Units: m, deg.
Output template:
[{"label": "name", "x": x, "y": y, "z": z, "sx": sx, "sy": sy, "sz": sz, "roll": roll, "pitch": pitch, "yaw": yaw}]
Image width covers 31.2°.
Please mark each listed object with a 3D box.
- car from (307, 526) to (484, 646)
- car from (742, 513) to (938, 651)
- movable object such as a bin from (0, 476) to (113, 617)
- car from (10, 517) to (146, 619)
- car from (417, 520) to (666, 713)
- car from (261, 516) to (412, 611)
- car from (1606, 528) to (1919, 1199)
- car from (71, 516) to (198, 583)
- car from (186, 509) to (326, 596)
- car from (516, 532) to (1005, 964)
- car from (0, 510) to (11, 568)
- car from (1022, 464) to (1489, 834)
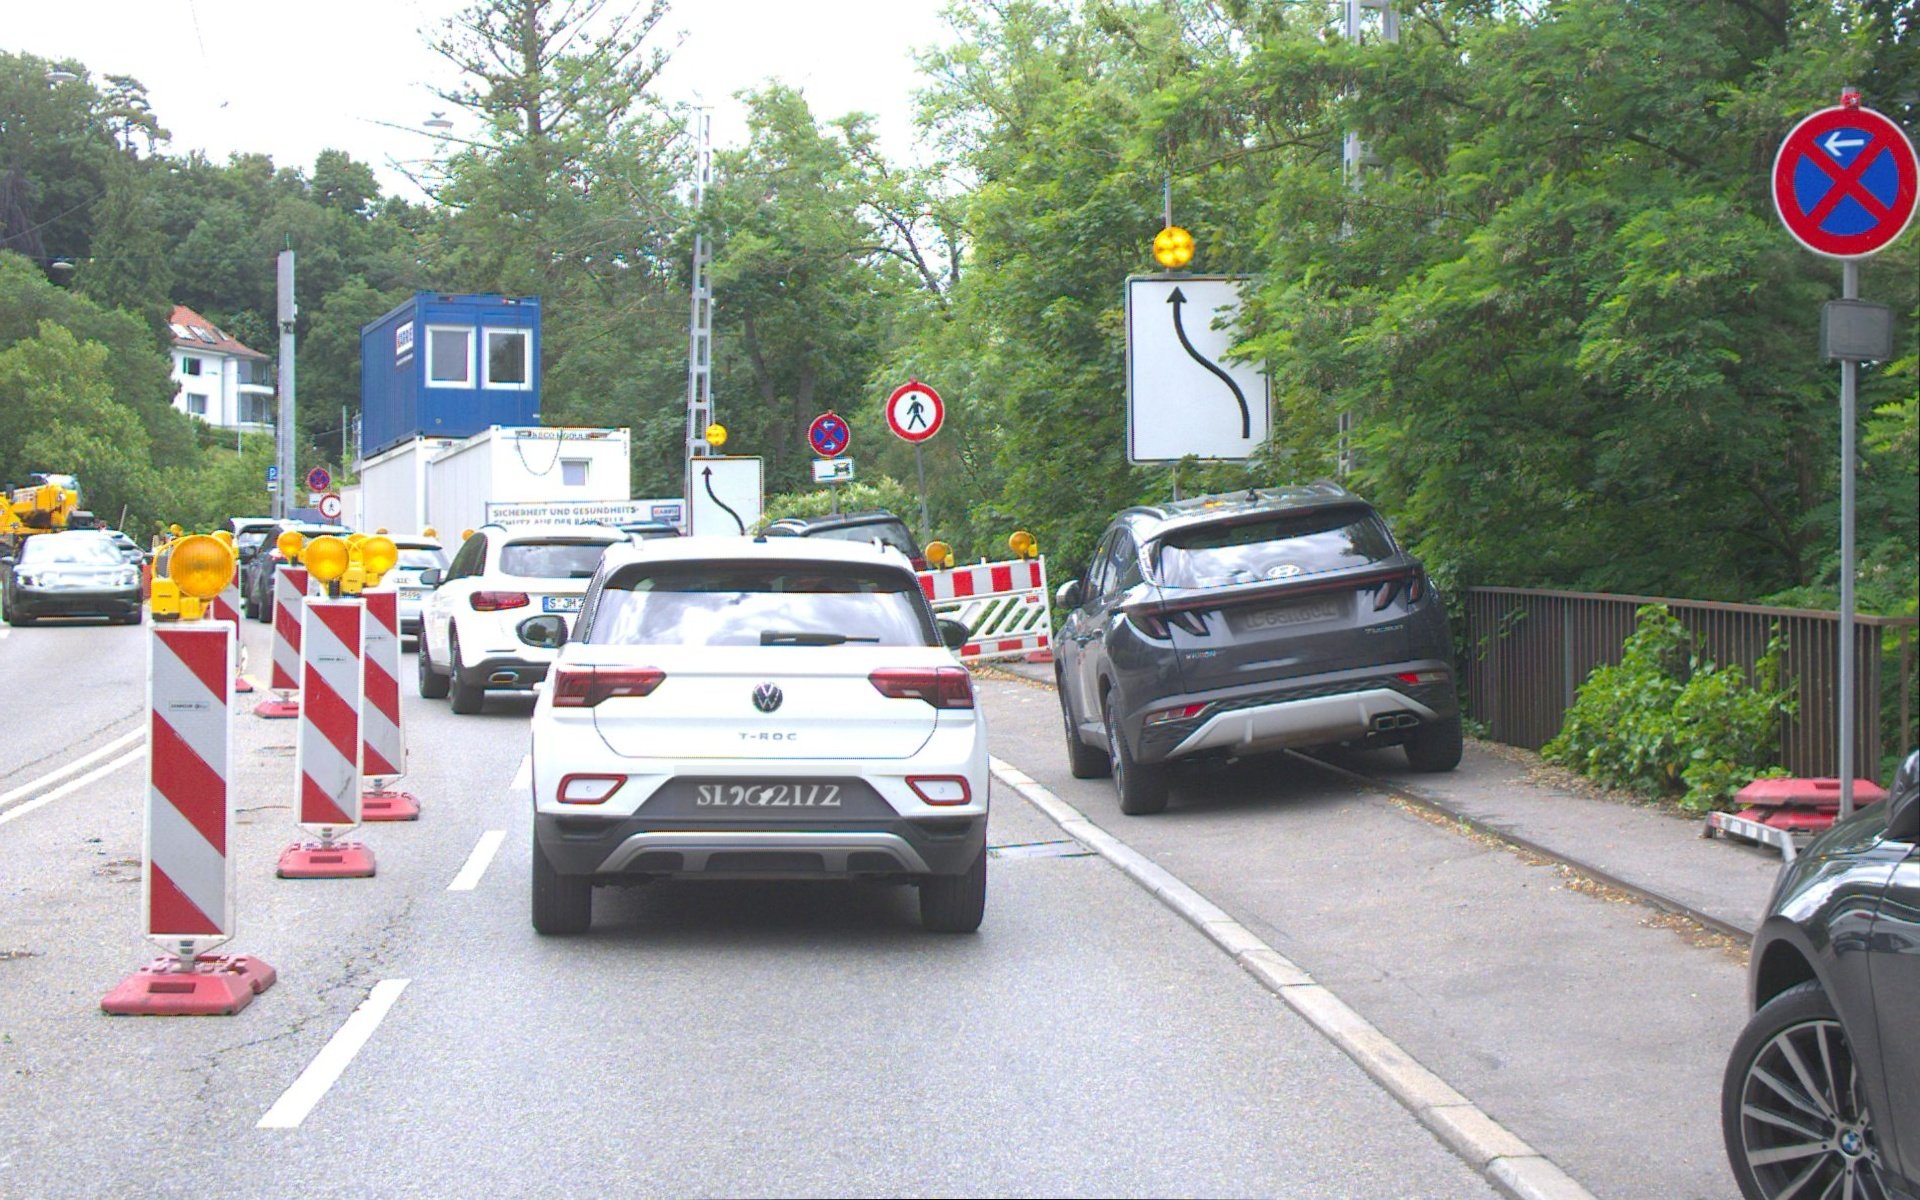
[{"label": "car", "x": -7.316, "y": -0.217, "z": 44.292, "sx": 1.757, "sy": 1.466, "sz": 3.797, "roll": 0, "pitch": 1, "yaw": -17}, {"label": "car", "x": -1.505, "y": -0.243, "z": 41.813, "sx": 1.715, "sy": 1.512, "sz": 3.661, "roll": -3, "pitch": 1, "yaw": -11}, {"label": "movable object such as a bin", "x": -25.850, "y": -1.478, "z": 94.576, "sx": 3.531, "sy": 3.687, "sz": 7.495, "roll": -2, "pitch": 1, "yaw": -25}, {"label": "car", "x": -13.690, "y": -0.519, "z": 53.229, "sx": 1.895, "sy": 1.489, "sz": 4.001, "roll": -1, "pitch": 1, "yaw": -16}, {"label": "car", "x": -3.775, "y": 0.093, "z": 30.537, "sx": 1.757, "sy": 1.604, "sz": 3.797, "roll": 0, "pitch": 1, "yaw": -14}, {"label": "car", "x": -10.002, "y": -0.560, "z": 54.939, "sx": 1.993, "sy": 1.409, "sz": 4.152, "roll": -2, "pitch": 0, "yaw": -15}, {"label": "car", "x": 2.528, "y": 0.593, "z": 5.514, "sx": 1.807, "sy": 1.458, "sz": 4.195, "roll": -6, "pitch": 2, "yaw": -4}, {"label": "car", "x": -18.746, "y": -1.122, "z": 77.920, "sx": 1.993, "sy": 1.445, "sz": 4.151, "roll": -1, "pitch": 1, "yaw": -25}, {"label": "car", "x": -13.289, "y": -0.924, "z": 64.711, "sx": 1.993, "sy": 1.551, "sz": 4.152, "roll": -1, "pitch": 2, "yaw": -20}, {"label": "car", "x": -0.961, "y": 0.496, "z": 14.364, "sx": 1.757, "sy": 1.550, "sz": 3.796, "roll": 0, "pitch": 1, "yaw": -8}, {"label": "car", "x": -25.828, "y": -1.526, "z": 87.999, "sx": 1.993, "sy": 1.445, "sz": 4.151, "roll": -1, "pitch": 1, "yaw": -29}, {"label": "car", "x": 1.561, "y": 0.206, "z": 19.741, "sx": 1.849, "sy": 1.651, "sz": 4.143, "roll": -8, "pitch": 2, "yaw": -4}]
